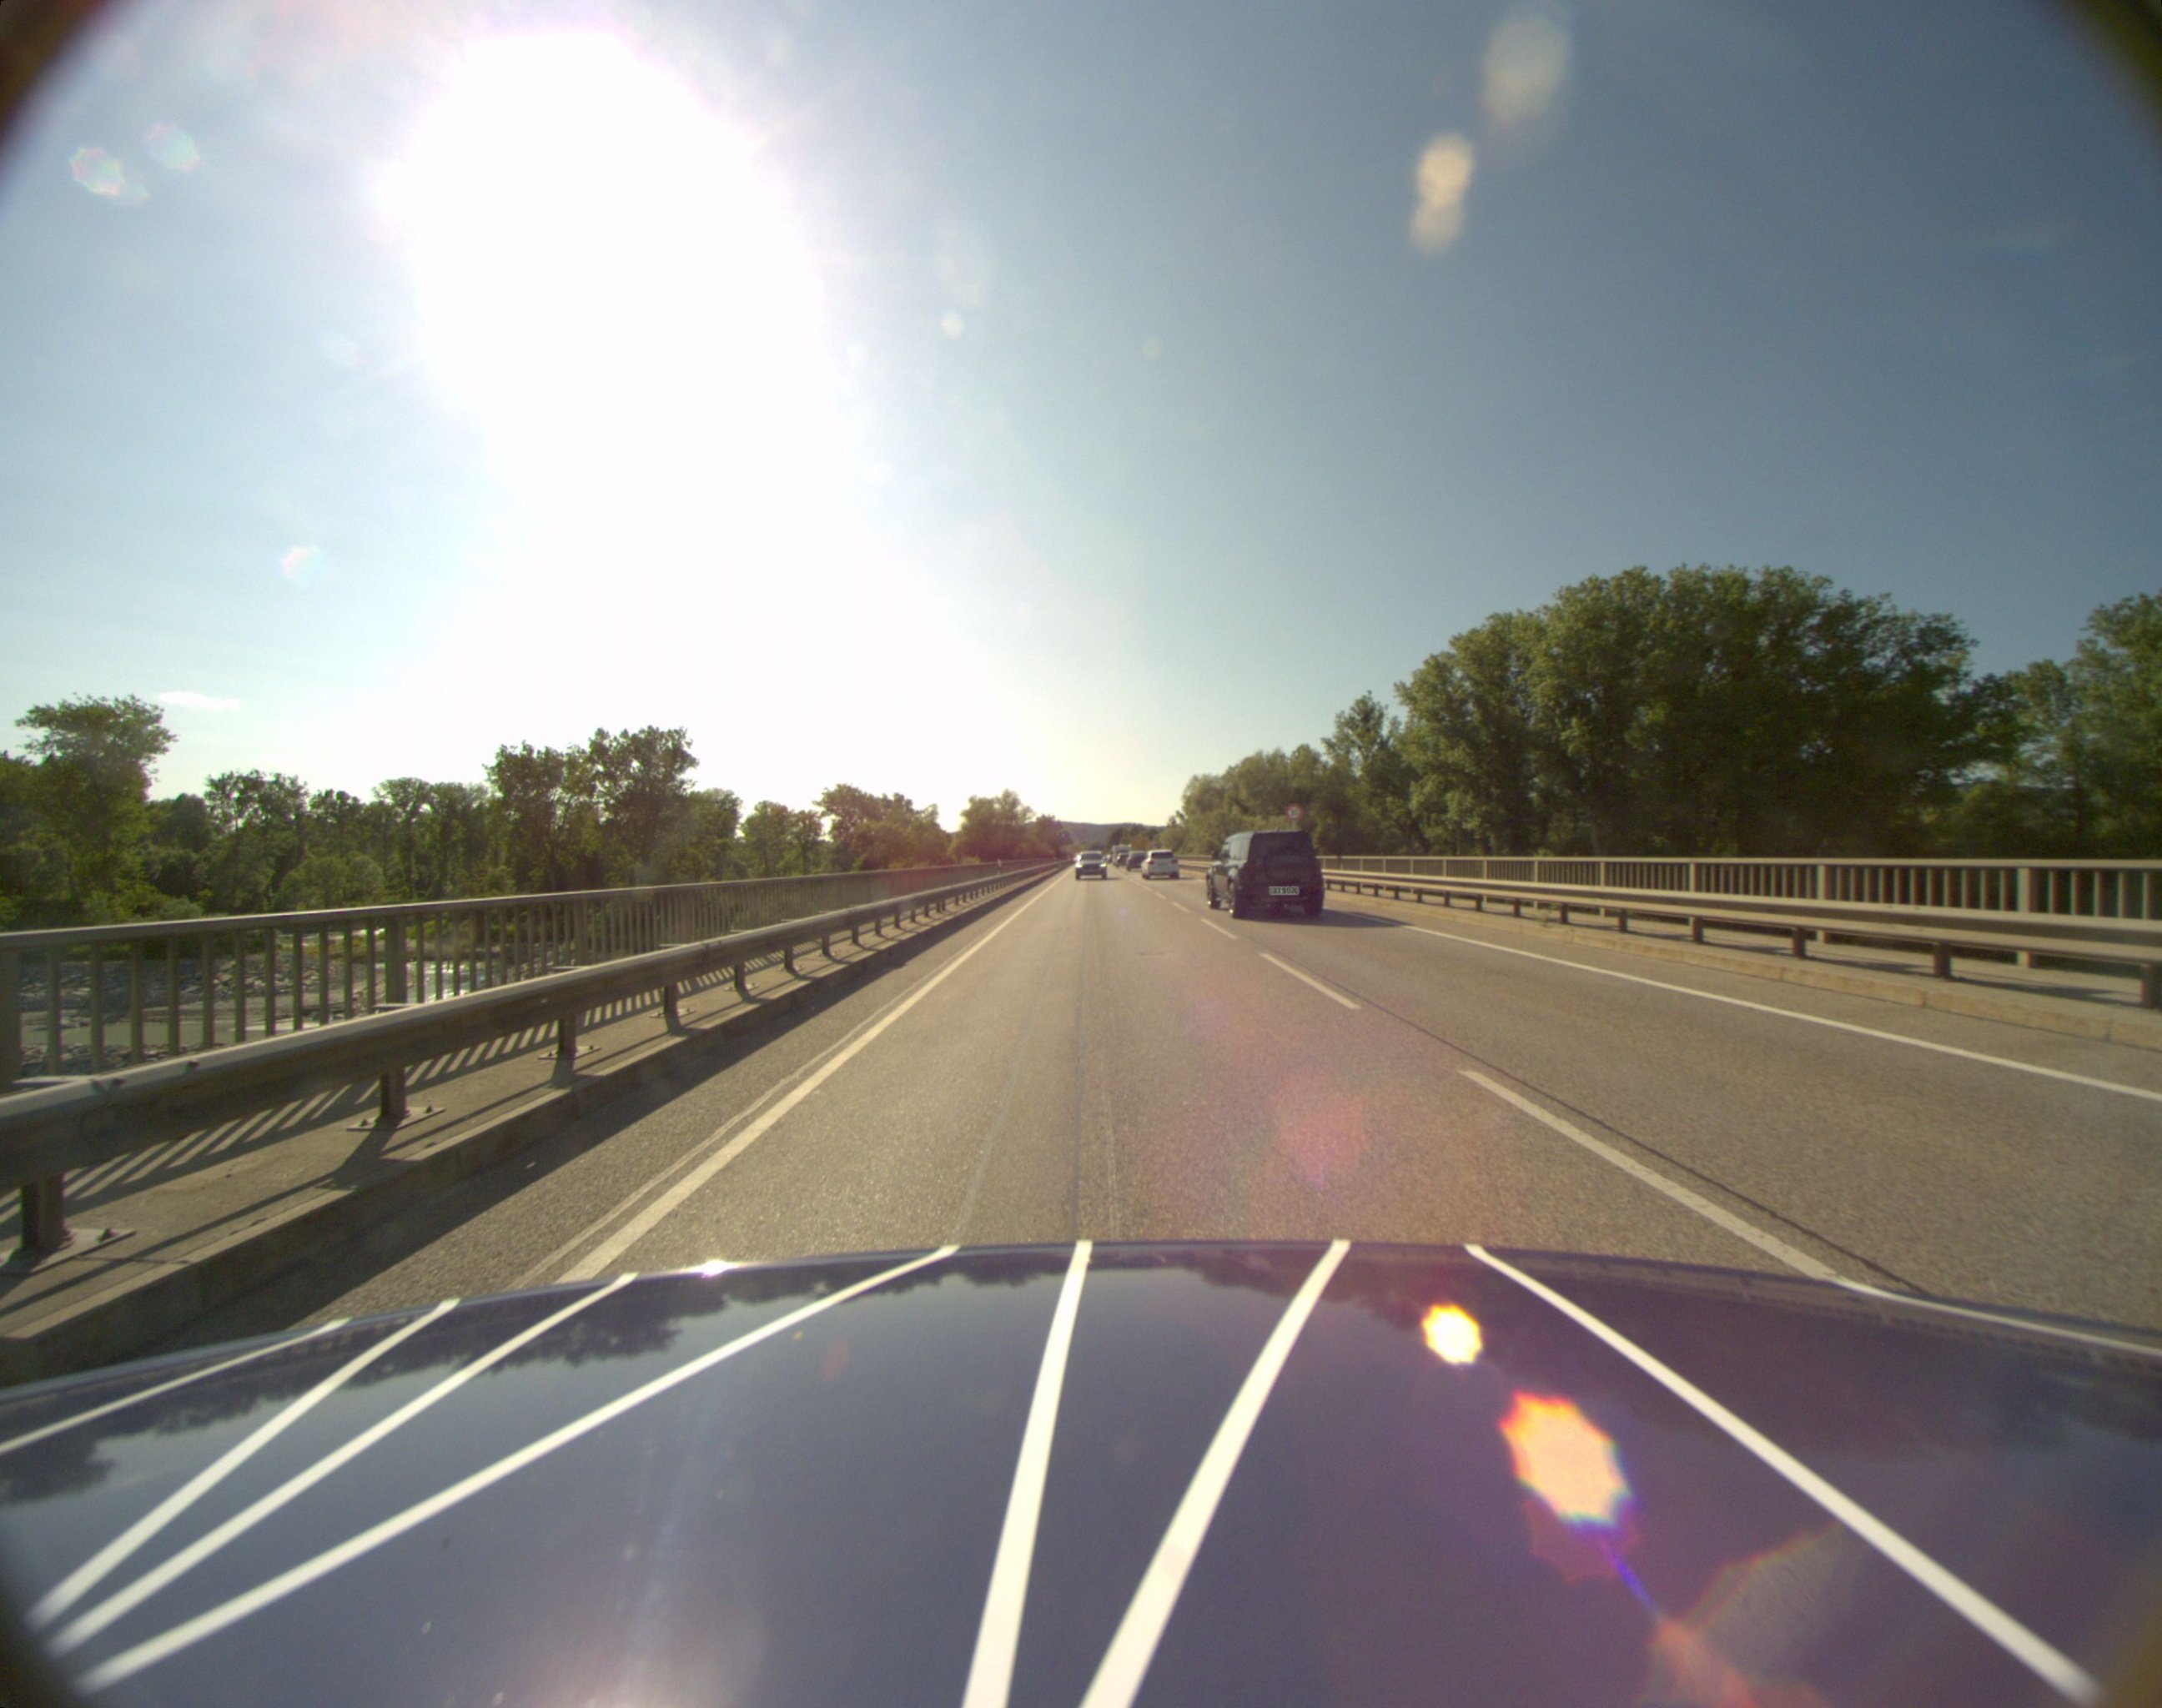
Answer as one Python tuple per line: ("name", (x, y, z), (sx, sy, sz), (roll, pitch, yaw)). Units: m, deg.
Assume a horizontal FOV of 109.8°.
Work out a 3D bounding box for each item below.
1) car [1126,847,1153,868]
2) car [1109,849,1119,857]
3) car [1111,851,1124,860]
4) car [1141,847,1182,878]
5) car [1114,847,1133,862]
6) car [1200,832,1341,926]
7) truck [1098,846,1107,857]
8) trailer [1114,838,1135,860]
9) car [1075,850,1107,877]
("car", (5.068, 0.307, 66.459), (1.954, 1.684, 4.476), (-2, 0, 0))
("car", (6.150, -0.262, 141.784), (1.736, 1.427, 4.486), (-2, 0, 0))
("car", (6.166, 0.213, 128.409), (1.791, 1.412, 4.650), (-1, 0, -1))
("car", (4.676, 0.450, 44.673), (1.988, 1.641, 4.598), (-2, 0, 1))
("car", (4.861, 0.066, 86.859), (1.807, 1.651, 4.432), (-2, 0, 0))
("car", (4.294, 0.504, 18.131), (2.042, 1.863, 5.069), (-2, 0, 0))
("truck", (6.826, -0.745, 243.884), (2.620, 3.235, 6.966), (-2, 0, 0))
("trailer", (5.810, -0.615, 101.288), (2.561, 2.721, 8.063), (-2, 0, 3))
("car", (0.680, 0.568, 48.131), (1.871, 1.599, 4.379), (-2, 0, 2))
